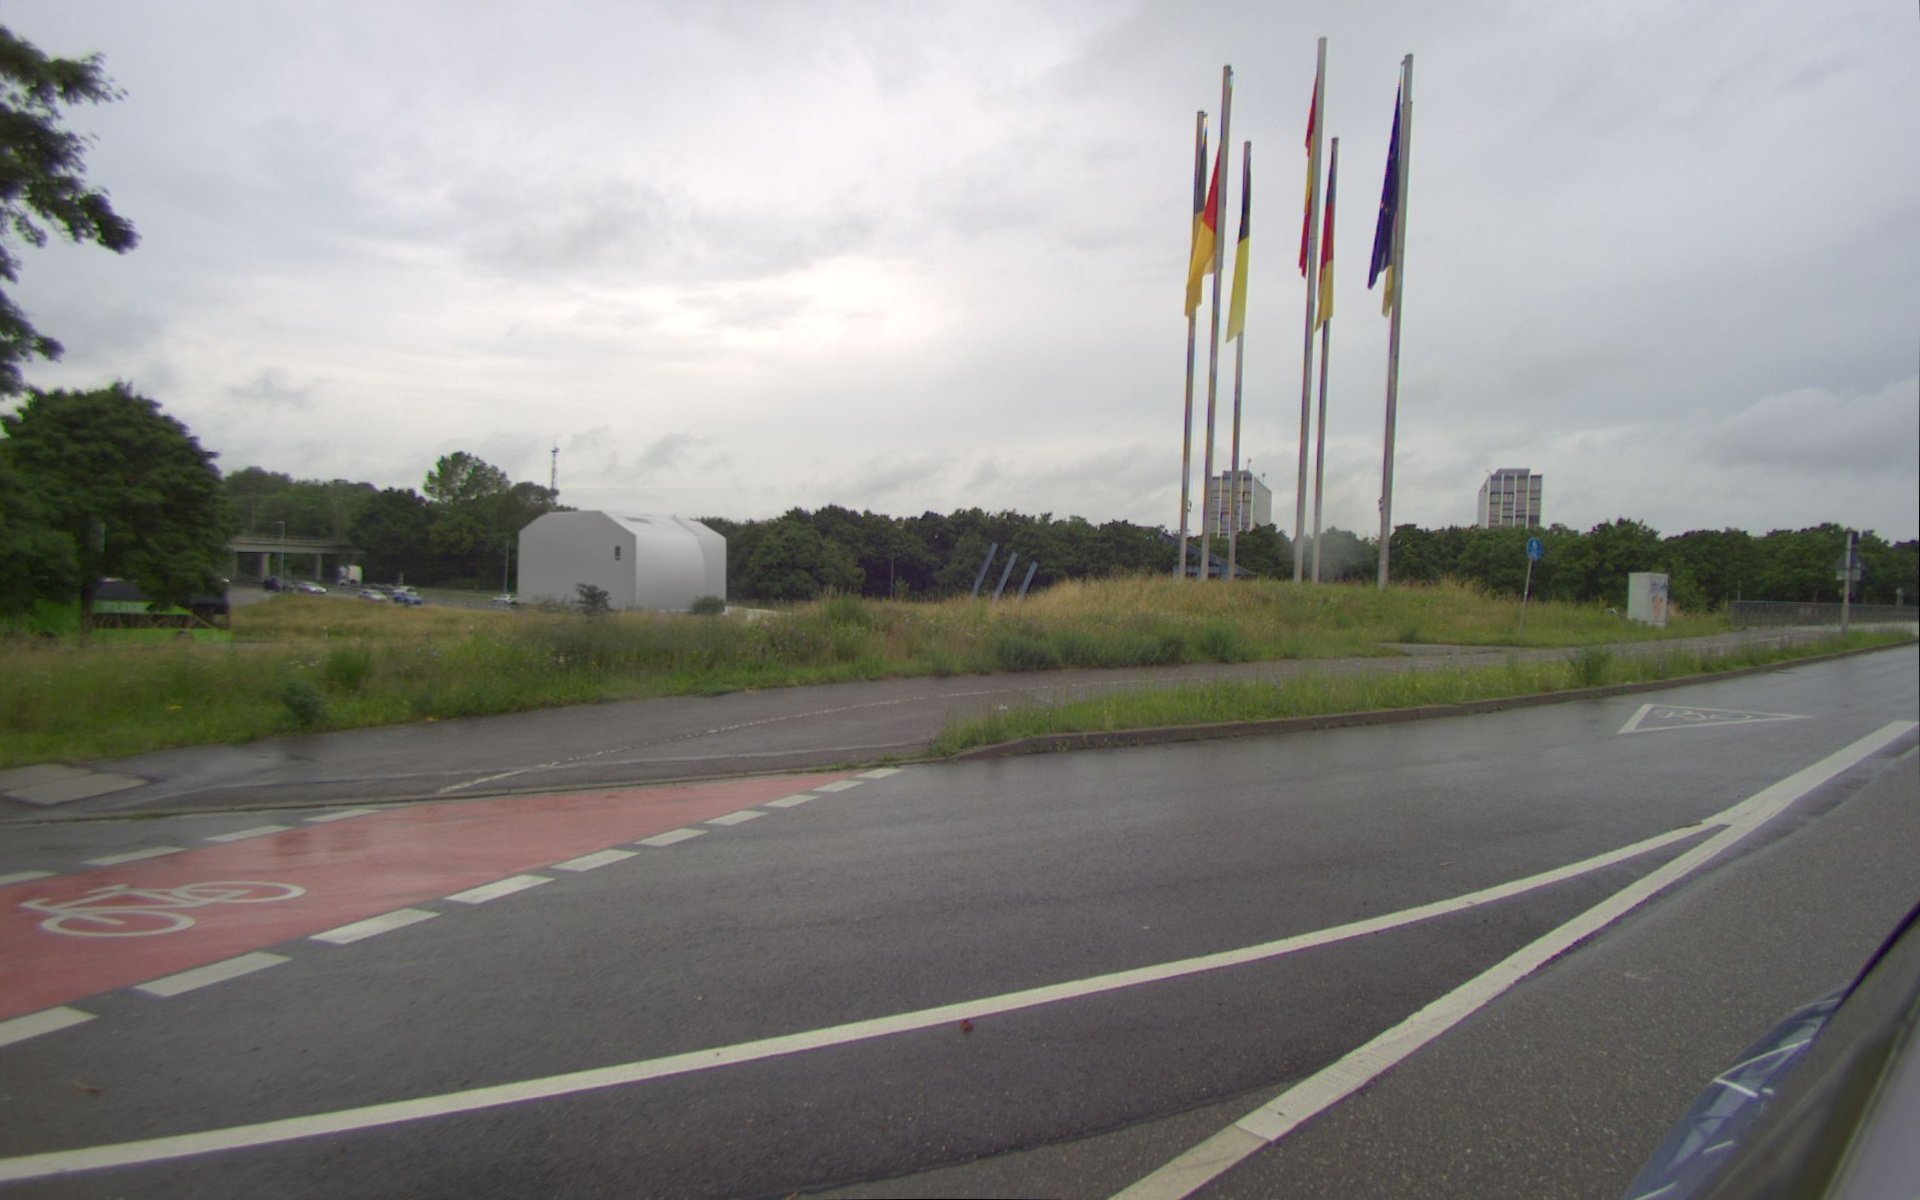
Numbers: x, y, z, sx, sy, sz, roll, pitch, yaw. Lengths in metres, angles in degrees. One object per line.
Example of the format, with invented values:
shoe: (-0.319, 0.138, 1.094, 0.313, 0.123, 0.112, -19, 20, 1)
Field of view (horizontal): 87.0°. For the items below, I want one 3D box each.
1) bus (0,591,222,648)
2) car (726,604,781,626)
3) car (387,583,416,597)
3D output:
bus: (-49.628, 0.994, 56.556, 2.729, 2.713, 14.496, 1, 2, 20)
car: (-18.388, 1.287, 90.020, 4.703, 1.719, 1.980, 2, 2, 29)
car: (-76.577, -1.376, 138.780, 3.974, 1.725, 1.975, 2, 1, 35)
